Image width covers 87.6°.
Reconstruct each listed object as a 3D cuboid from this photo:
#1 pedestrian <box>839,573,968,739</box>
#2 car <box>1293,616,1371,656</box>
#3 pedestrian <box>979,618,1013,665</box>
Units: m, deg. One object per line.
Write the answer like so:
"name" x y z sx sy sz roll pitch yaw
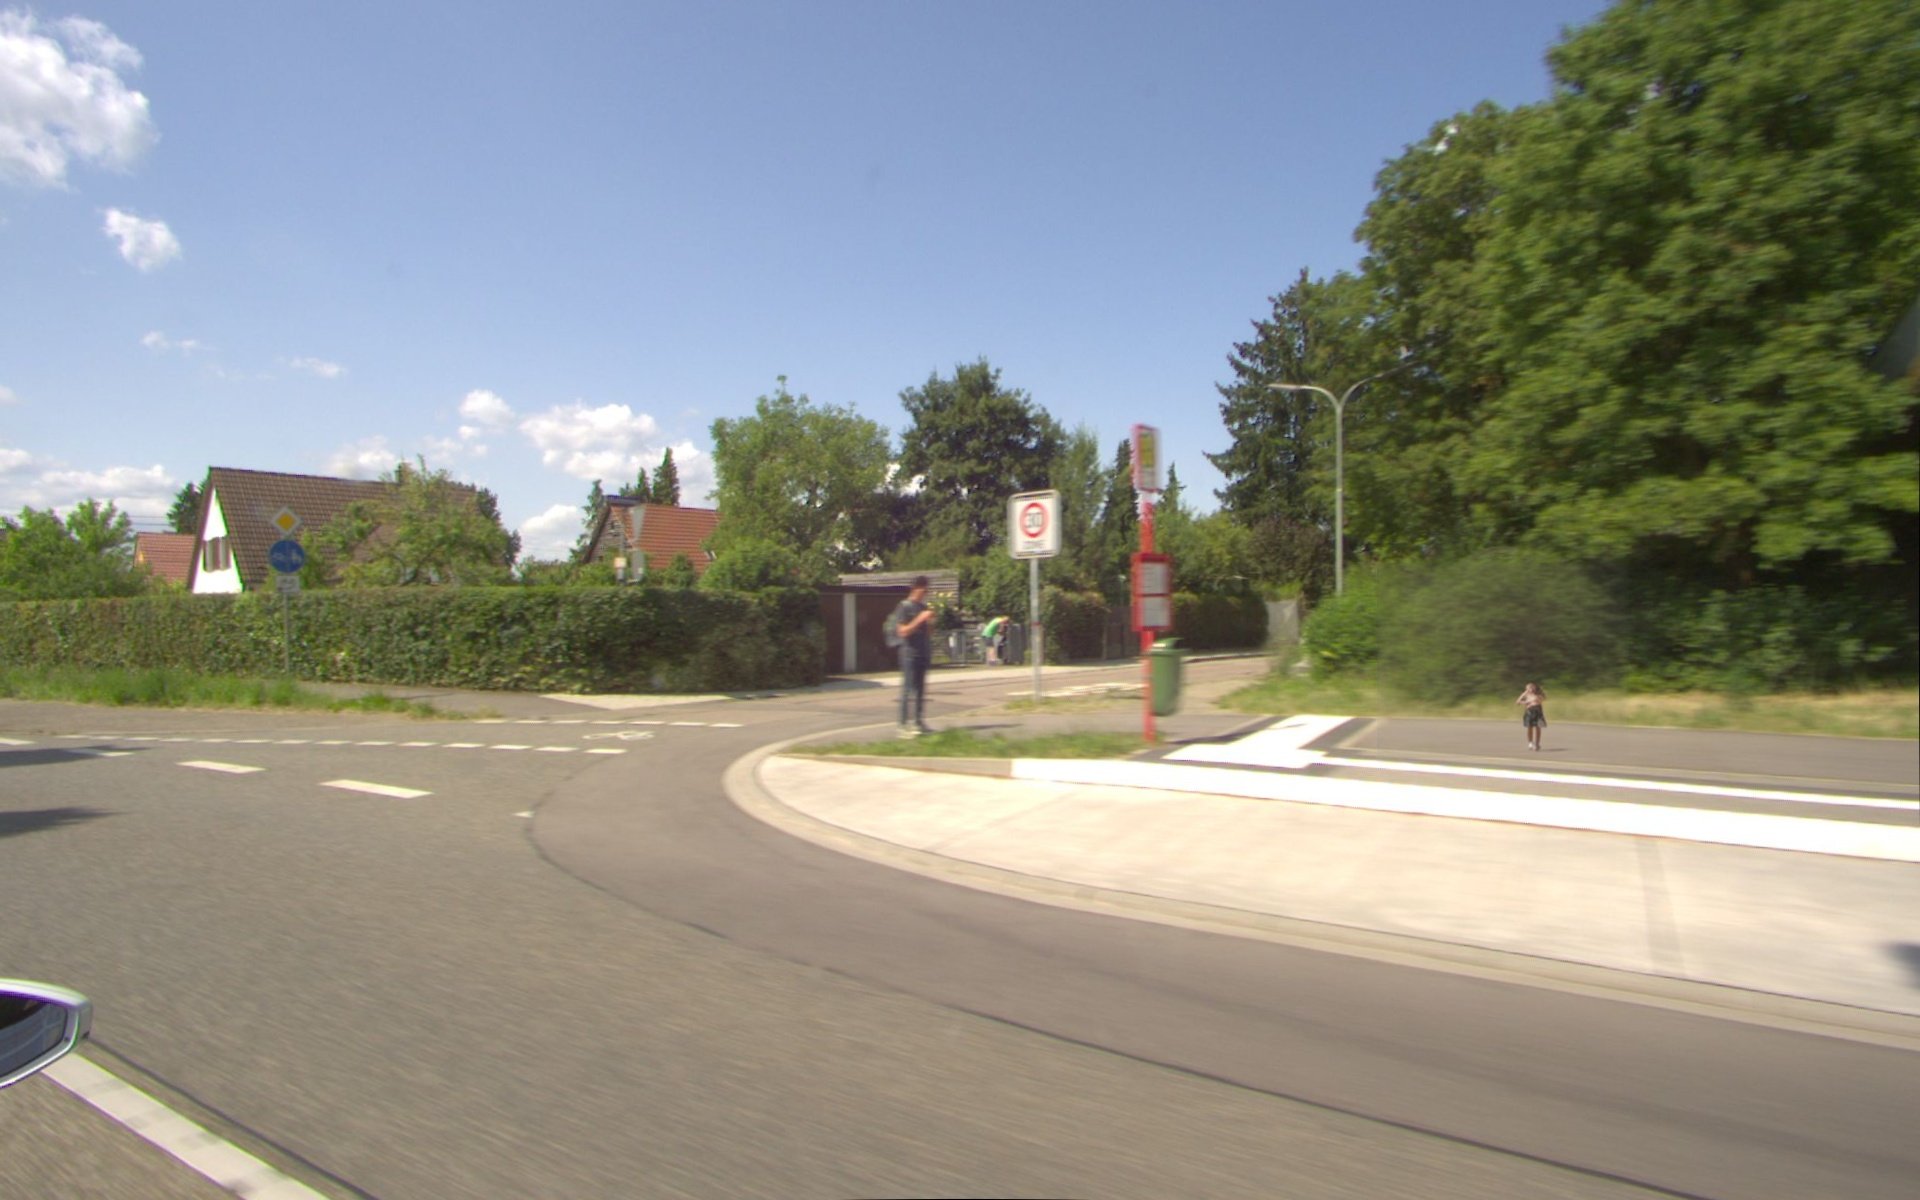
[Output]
"pedestrian" -0.658 0.640 11.764 1.072 1.848 0.952 -3 0 32
"car" 14.466 1.359 38.840 1.663 1.438 3.635 -1 -1 41
"pedestrian" 1.023 1.172 28.518 0.909 1.317 0.636 0 0 -4
